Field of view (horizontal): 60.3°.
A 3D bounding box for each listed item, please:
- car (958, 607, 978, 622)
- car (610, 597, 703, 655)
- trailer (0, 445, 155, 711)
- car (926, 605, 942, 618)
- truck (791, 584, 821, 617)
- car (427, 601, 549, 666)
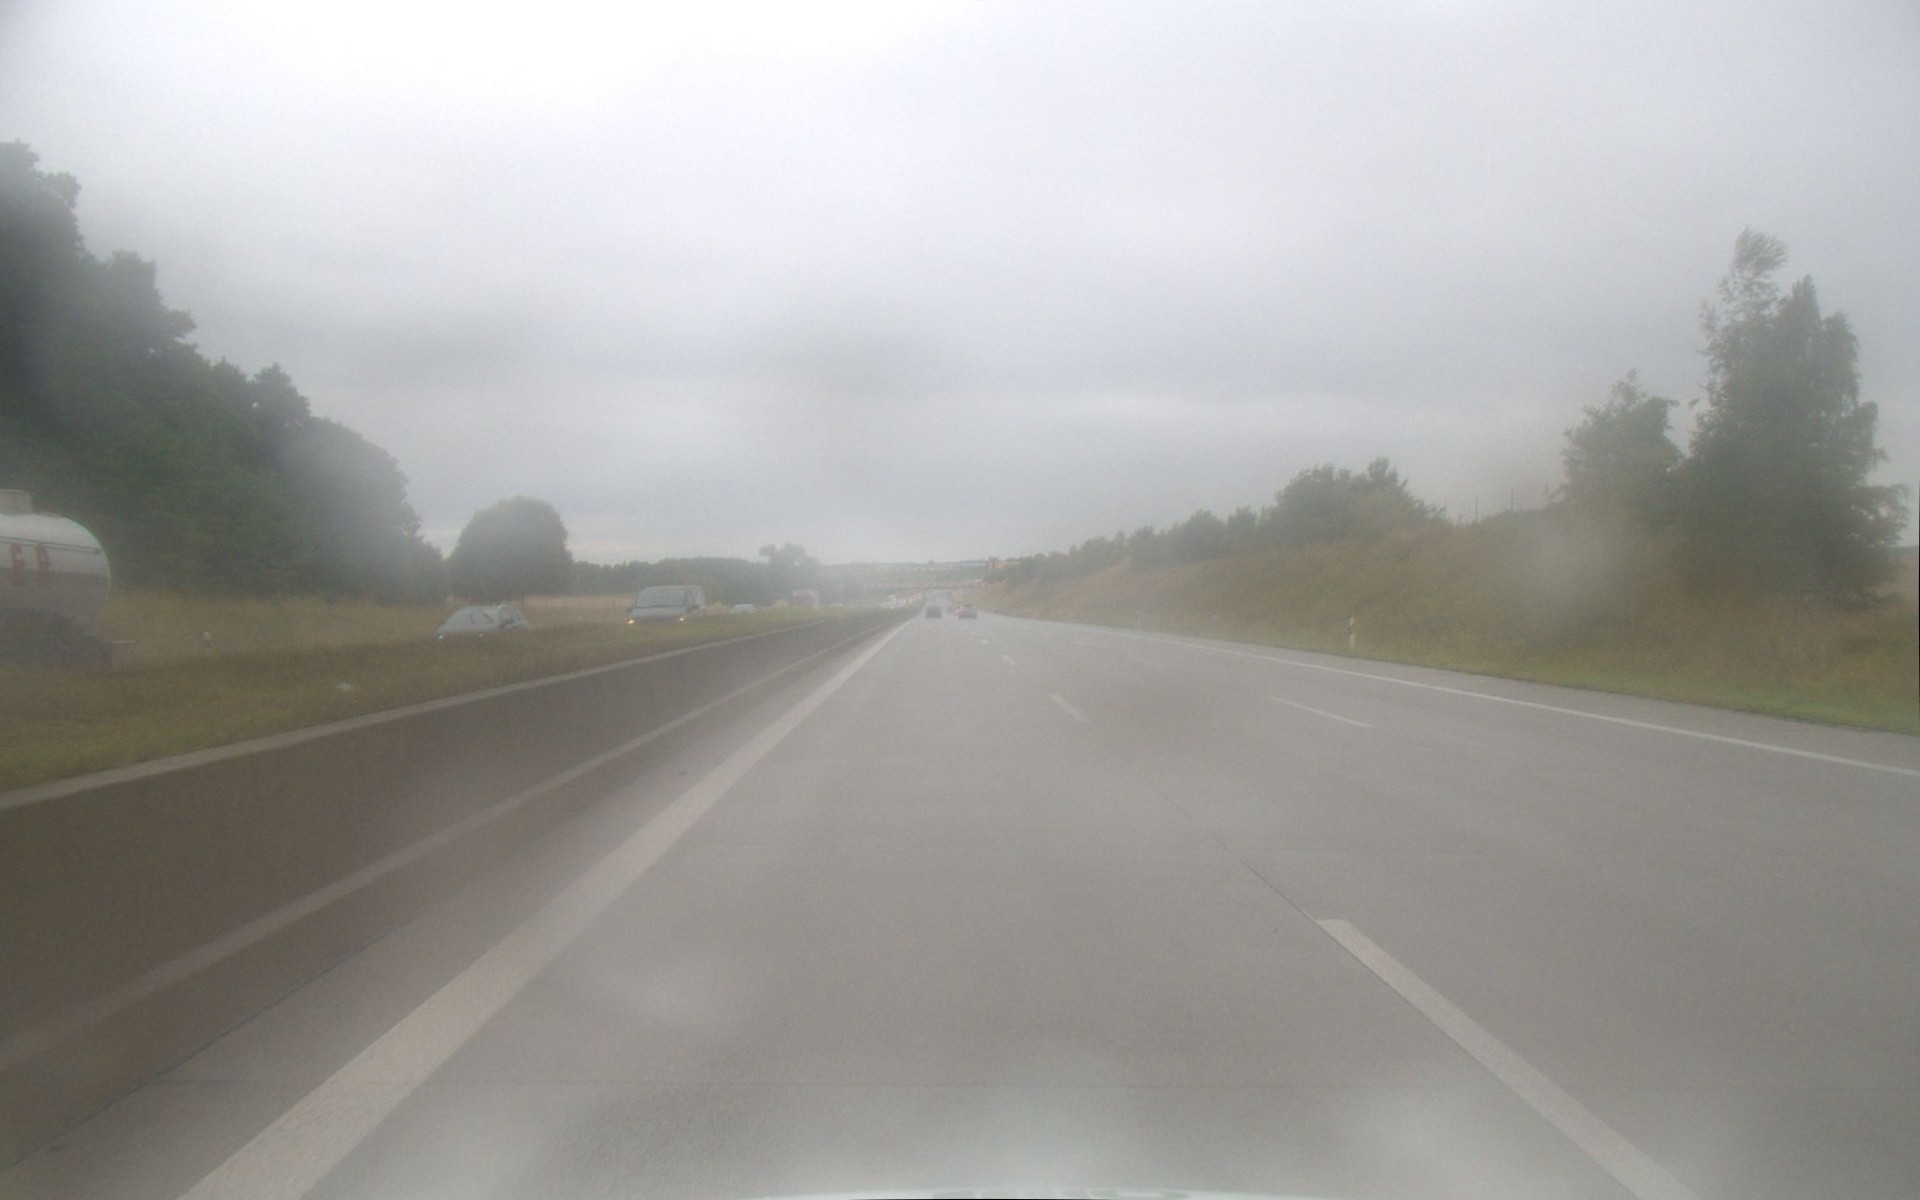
[{"bbox_3d":[0.833,1.471,170.873,1.810,1.354,4.428,0,1,-3],"label":"car"},{"bbox_3d":[-8.886,0.732,48.758,1.953,1.570,4.558,-2,0,-2],"label":"car"},{"bbox_3d":[-15.851,-0.313,24.663,2.611,4.041,11.131,-1,0,-2],"label":"trailer"},{"bbox_3d":[-2.871,1.275,181.965,1.694,1.354,4.429,0,1,-1],"label":"car"},{"bbox_3d":[-19.354,0.031,208.312,2.844,3.923,12.447,-1,1,-1],"label":"truck"},{"bbox_3d":[-12.130,0.817,42.811,1.953,1.570,4.558,-1,0,-2],"label":"car"}]
